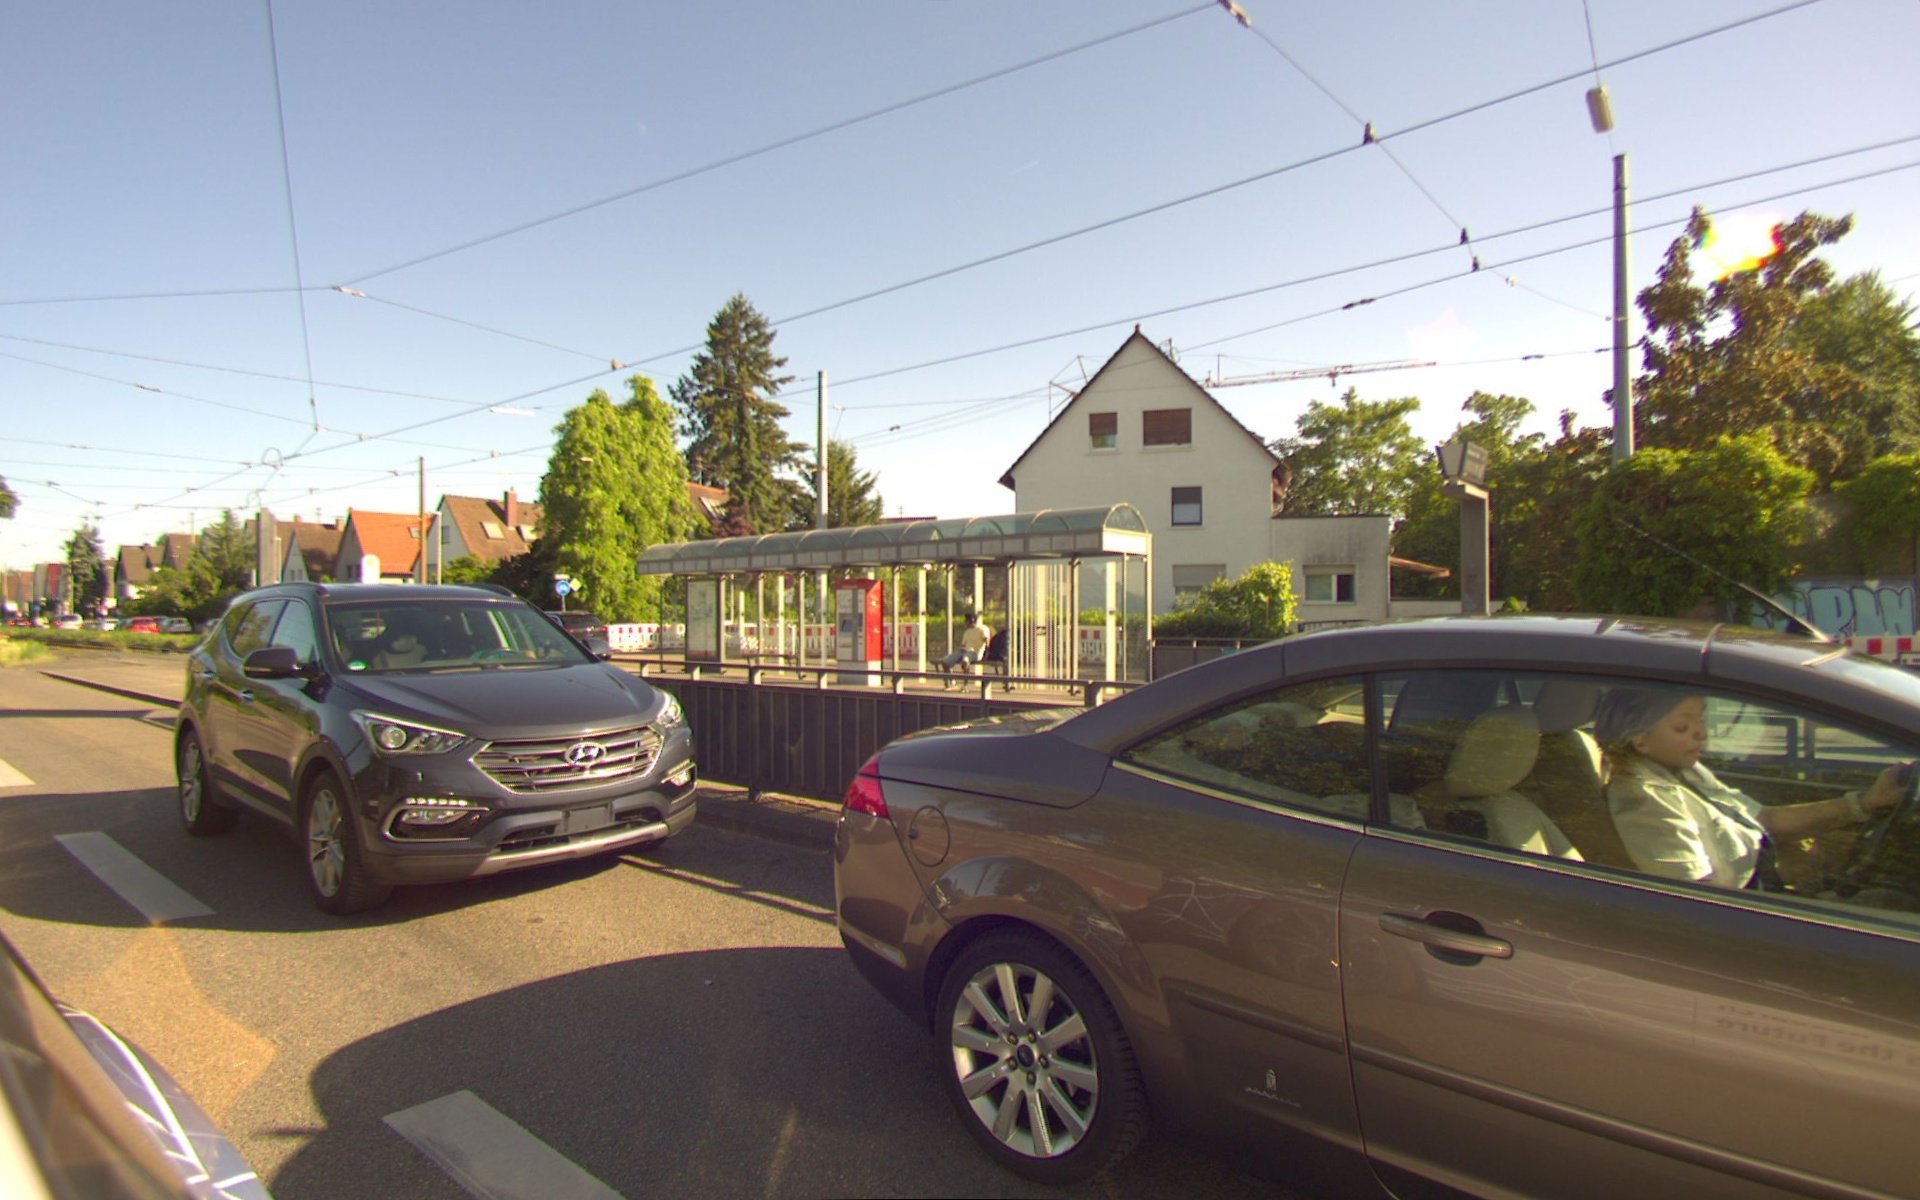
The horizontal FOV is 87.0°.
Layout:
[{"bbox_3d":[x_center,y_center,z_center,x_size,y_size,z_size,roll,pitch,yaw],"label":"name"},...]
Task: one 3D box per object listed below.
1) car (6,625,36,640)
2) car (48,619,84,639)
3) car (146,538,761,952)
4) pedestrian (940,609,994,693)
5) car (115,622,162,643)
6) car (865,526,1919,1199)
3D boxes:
[{"bbox_3d":[-102.042,3.530,109.982,3.998,1.674,1.973,-2,-2,41],"label":"car"},{"bbox_3d":[-80.305,2.601,90.920,3.999,1.785,1.972,-2,-2,42],"label":"car"},{"bbox_3d":[-3.341,0.650,6.292,4.296,1.709,1.862,-1,-2,40],"label":"car"},{"bbox_3d":[0.121,0.871,17.501,0.710,1.425,0.616,-1,-2,39],"label":"pedestrian"},{"bbox_3d":[-57.766,2.264,71.122,3.999,1.475,1.972,-2,-2,42],"label":"car"},{"bbox_3d":[1.913,0.679,2.124,4.189,1.546,1.733,-1,-2,38],"label":"car"}]
